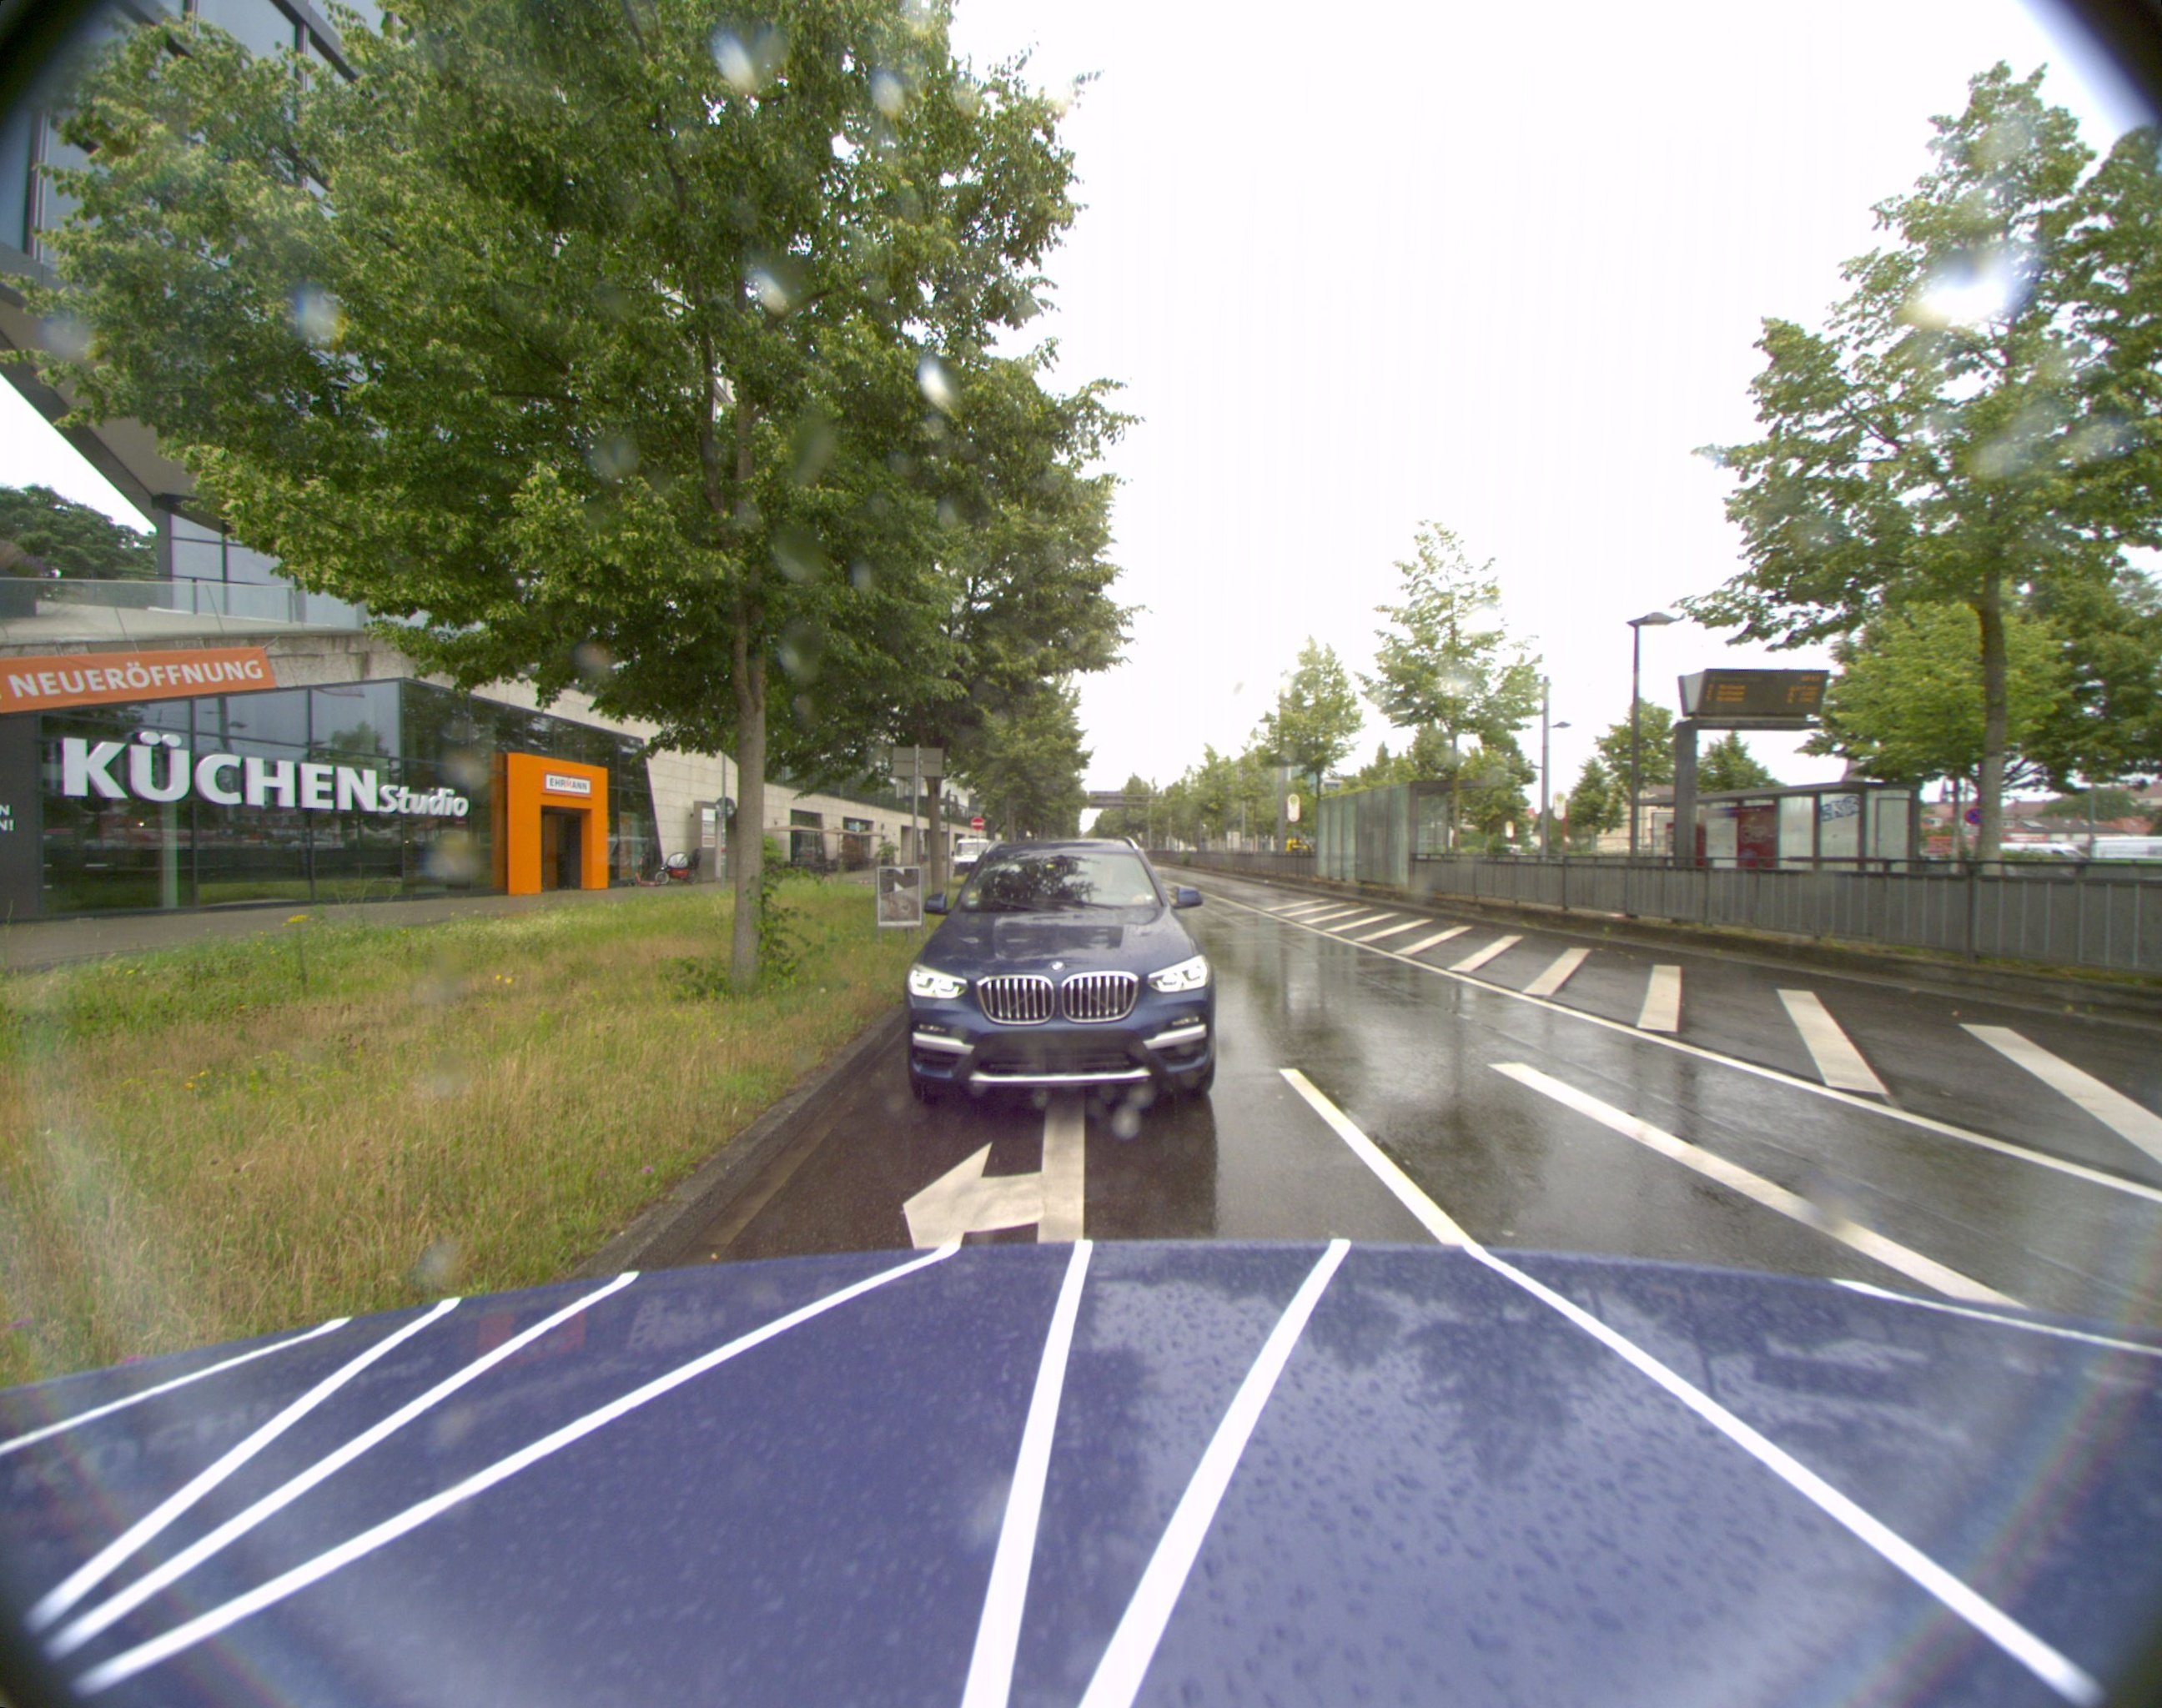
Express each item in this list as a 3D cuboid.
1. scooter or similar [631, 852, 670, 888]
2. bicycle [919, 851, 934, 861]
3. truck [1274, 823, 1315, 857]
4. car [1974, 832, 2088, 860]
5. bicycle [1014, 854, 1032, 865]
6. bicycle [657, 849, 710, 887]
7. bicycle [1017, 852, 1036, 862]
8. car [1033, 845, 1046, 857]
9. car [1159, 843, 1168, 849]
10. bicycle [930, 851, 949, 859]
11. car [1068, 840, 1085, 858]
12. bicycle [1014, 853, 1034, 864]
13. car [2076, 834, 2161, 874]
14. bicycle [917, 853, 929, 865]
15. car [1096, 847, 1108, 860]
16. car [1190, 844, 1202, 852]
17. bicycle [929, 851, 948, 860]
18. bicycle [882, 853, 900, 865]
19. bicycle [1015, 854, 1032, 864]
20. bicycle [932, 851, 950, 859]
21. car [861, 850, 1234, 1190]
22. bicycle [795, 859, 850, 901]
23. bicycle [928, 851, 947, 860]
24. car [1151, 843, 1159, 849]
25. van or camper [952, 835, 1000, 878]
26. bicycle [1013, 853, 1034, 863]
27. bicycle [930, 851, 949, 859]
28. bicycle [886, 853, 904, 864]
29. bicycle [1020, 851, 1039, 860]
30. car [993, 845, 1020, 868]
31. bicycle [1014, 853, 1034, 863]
[{"bbox_3d":[-15.661,0.579,27.680,0.342,1.221,1.242,-2,2,19],"label":"scooter or similar"},{"bbox_3d":[-16.203,0.194,79.643,1.657,0.940,0.347,1,2,19],"label":"bicycle"},{"bbox_3d":[25.642,-1.685,91.651,2.693,3.756,9.182,-2,1,3],"label":"truck"},{"bbox_3d":[84.255,-0.738,67.561,2.000,2.293,6.138,-3,1,-9],"label":"car"},{"bbox_3d":[-5.567,0.500,72.953,1.699,0.940,0.395,-2,2,-4],"label":"bicycle"},{"bbox_3d":[-15.395,0.509,29.483,0.734,1.394,2.425,1,0,1],"label":"bicycle"},{"bbox_3d":[-5.841,0.307,81.289,2.040,0.940,0.542,-2,2,-4],"label":"bicycle"},{"bbox_3d":[-6.021,-0.457,111.421,1.659,1.711,3.999,-2,1,0],"label":"car"},{"bbox_3d":[24.258,-2.338,222.781,1.999,1.736,3.998,-2,1,-2],"label":"car"},{"bbox_3d":[-15.910,0.105,85.408,2.029,0.940,0.395,1,1,-4],"label":"bicycle"},{"bbox_3d":[-0.594,-0.678,96.622,1.998,2.232,3.999,-2,1,1],"label":"car"},{"bbox_3d":[-5.635,0.429,74.926,1.862,0.940,0.395,-2,2,-4],"label":"bicycle"},{"bbox_3d":[70.019,-0.024,49.220,1.999,2.448,6.744,-2,1,-4],"label":"car"},{"bbox_3d":[-13.257,0.420,63.913,0.402,0.940,1.859,-1,1,8],"label":"bicycle"},{"bbox_3d":[3.739,-0.138,133.544,1.998,2.232,3.999,-2,1,1],"label":"car"},{"bbox_3d":[26.698,-1.489,176.071,1.999,1.736,3.998,-2,1,-2],"label":"car"},{"bbox_3d":[-15.854,0.130,84.265,2.029,0.940,0.395,1,1,-4],"label":"bicycle"},{"bbox_3d":[-15.380,0.392,61.335,0.396,0.940,2.024,-4,2,-45],"label":"bicycle"},{"bbox_3d":[-5.580,0.466,73.649,1.649,0.940,0.395,-2,2,-4],"label":"bicycle"},{"bbox_3d":[-15.993,0.095,86.655,2.029,0.940,0.395,1,1,-4],"label":"bicycle"},{"bbox_3d":[-0.136,0.835,5.839,1.816,1.603,3.999,-2,1,1],"label":"car"},{"bbox_3d":[-8.602,0.860,25.274,1.843,1.338,0.533,-1,0,26],"label":"bicycle"},{"bbox_3d":[-15.782,0.139,83.539,2.029,0.940,0.395,1,1,-4],"label":"bicycle"},{"bbox_3d":[24.548,-2.665,251.226,1.999,1.736,3.998,-2,1,-2],"label":"car"},{"bbox_3d":[-5.911,0.096,43.380,2.030,2.279,5.458,-1,1,0],"label":"van or camper"},{"bbox_3d":[-5.760,0.402,76.413,2.040,0.940,0.395,-2,2,-4],"label":"bicycle"},{"bbox_3d":[-15.973,0.101,85.923,2.029,0.940,0.395,1,1,-4],"label":"bicycle"},{"bbox_3d":[-15.186,0.371,62.007,0.396,0.940,2.024,-4,2,-45],"label":"bicycle"},{"bbox_3d":[-5.626,0.187,83.592,2.040,0.940,0.519,-2,2,-4],"label":"bicycle"},{"bbox_3d":[-6.052,0.161,62.225,1.746,1.749,4.847,-1,1,0],"label":"car"},{"bbox_3d":[-5.666,0.418,75.455,1.882,0.940,0.395,-2,2,-4],"label":"bicycle"}]
